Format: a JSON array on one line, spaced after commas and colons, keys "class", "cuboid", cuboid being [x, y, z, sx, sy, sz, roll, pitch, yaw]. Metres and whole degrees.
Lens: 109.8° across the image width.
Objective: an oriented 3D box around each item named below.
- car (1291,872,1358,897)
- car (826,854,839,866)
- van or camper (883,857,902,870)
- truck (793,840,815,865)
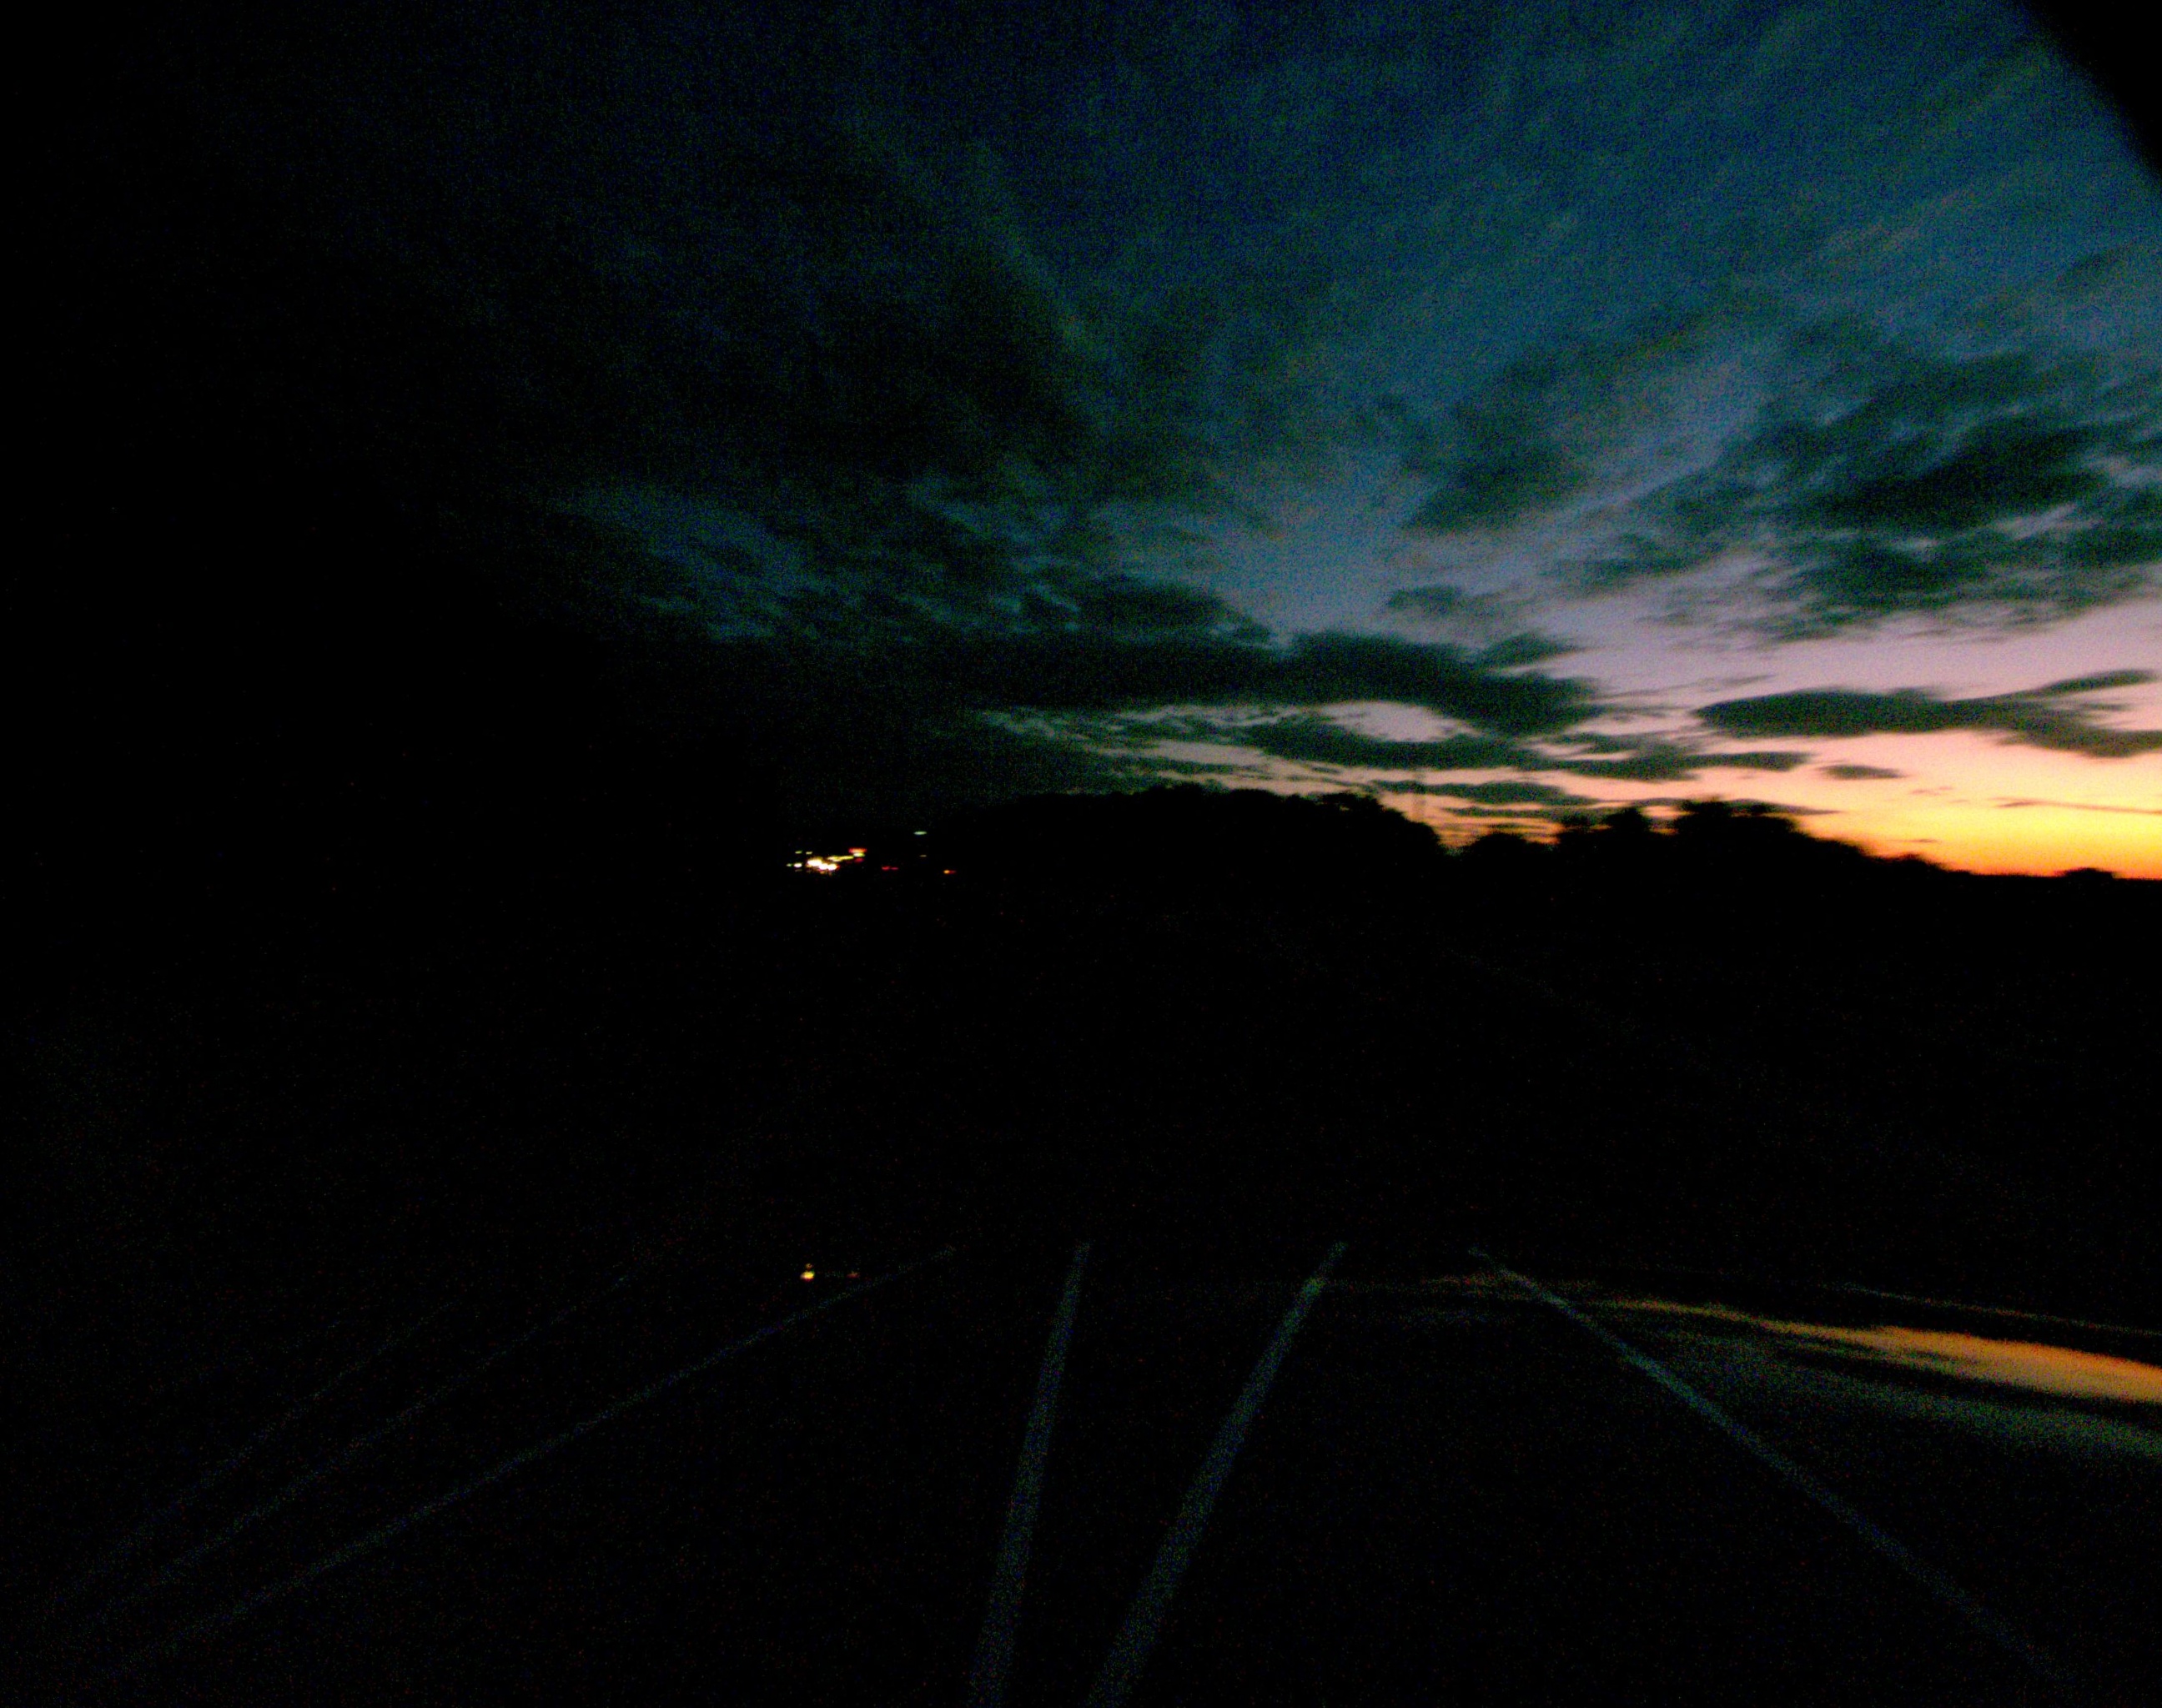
[{"class": "car", "cuboid": [16.404, 2.043, 51.382, 2.003, 1.503, 3.990, -1, 0, -29]}, {"class": "car", "cuboid": [-46.565, 1.096, 142.285, 2.003, 2.001, 3.992, 4, -1, -23]}, {"class": "van or camper", "cuboid": [-42.030, 2.102, 169.525, 2.529, 2.579, 6.474, 3, -1, -27]}, {"class": "truck", "cuboid": [-53.142, -0.246, 145.660, 3.360, 4.292, 11.303, 4, -1, -22]}]
